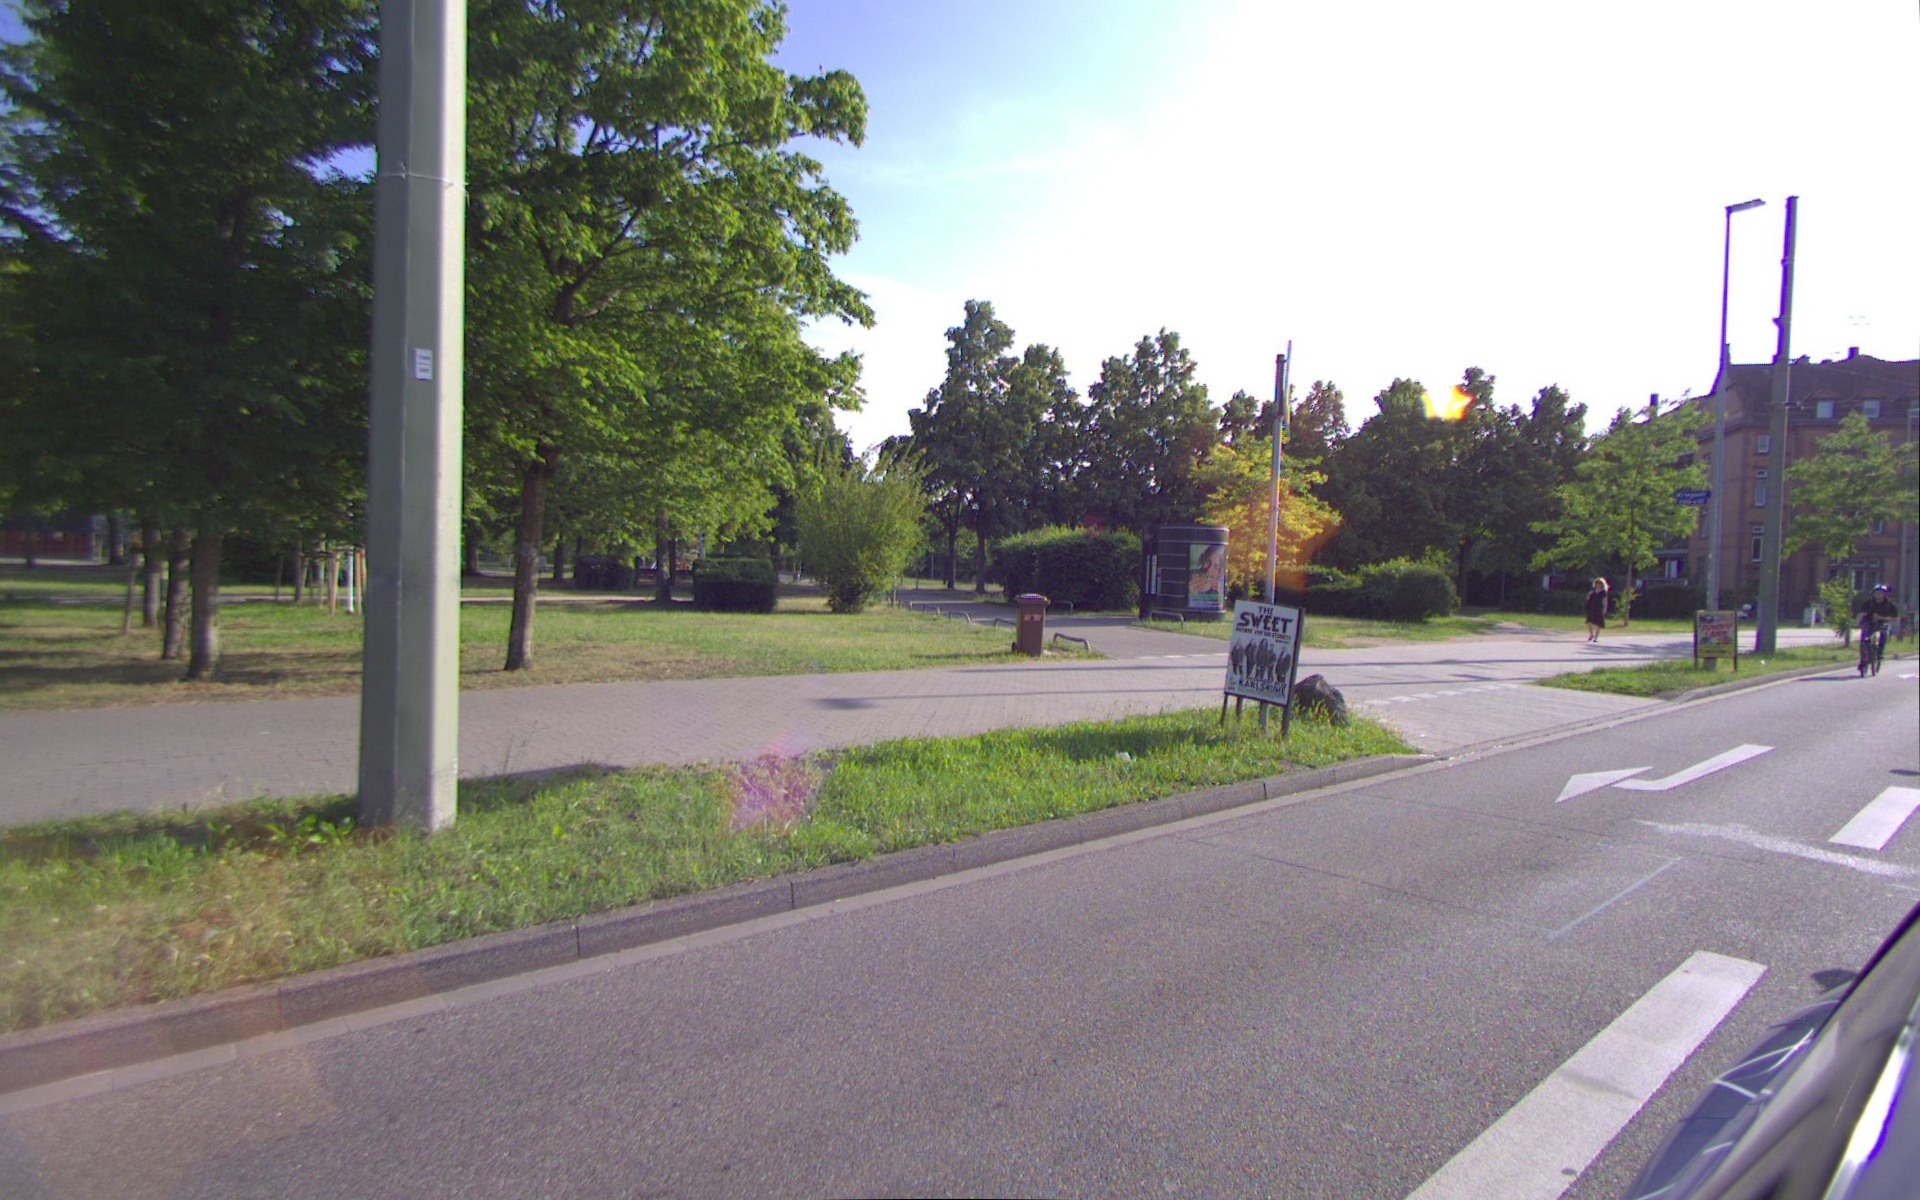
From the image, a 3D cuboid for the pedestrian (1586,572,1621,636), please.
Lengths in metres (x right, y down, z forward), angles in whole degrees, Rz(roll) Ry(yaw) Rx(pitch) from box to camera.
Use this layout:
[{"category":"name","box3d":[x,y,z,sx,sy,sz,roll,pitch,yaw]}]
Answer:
[{"category":"pedestrian","box3d":[17.437,0.106,27.424,0.607,1.706,0.621,1,0,-40]}]

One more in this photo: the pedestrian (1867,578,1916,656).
[{"category":"pedestrian","box3d":[18.914,0.330,20.542,0.830,1.540,0.636,0,0,-40]}]

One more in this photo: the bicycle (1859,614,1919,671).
[{"category":"bicycle","box3d":[18.766,0.837,20.431,1.945,1.059,0.651,-1,0,-40]}]

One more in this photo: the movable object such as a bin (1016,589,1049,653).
[{"category":"movable object such as a bin","box3d":[1.099,0.308,15.426,0.447,0.929,0.605,2,2,1]}]
